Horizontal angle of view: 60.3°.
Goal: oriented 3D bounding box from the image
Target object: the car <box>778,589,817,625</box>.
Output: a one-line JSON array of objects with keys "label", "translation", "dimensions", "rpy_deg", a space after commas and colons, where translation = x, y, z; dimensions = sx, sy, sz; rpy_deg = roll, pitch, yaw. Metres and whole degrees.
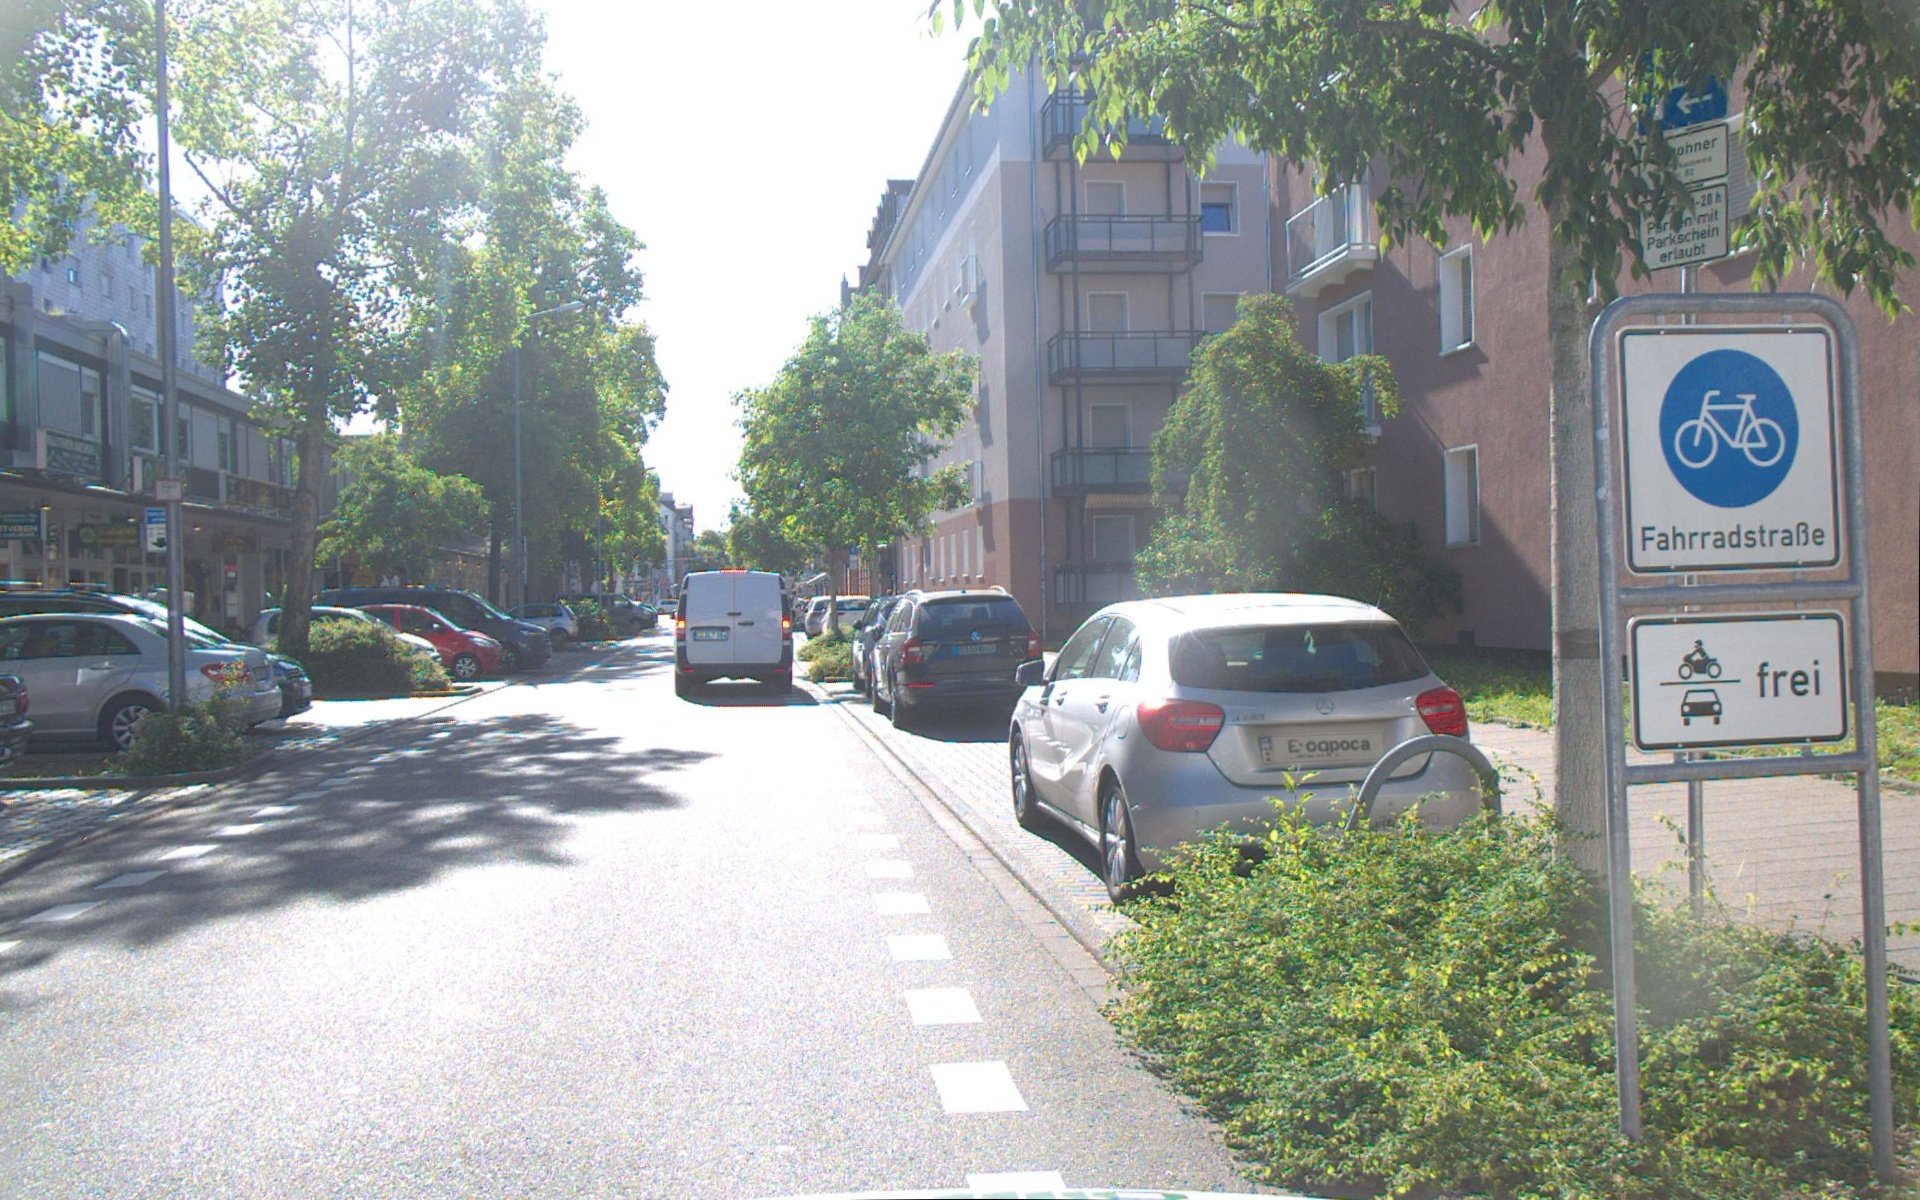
[{"label": "car", "translation": [-7.459, 0.309, 75.695], "dimensions": [1.707, 1.546, 3.852], "rpy_deg": [-2, 0, -7]}]

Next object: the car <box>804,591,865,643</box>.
[{"label": "car", "translation": [-3.998, 0.512, 52.315], "dimensions": [1.707, 1.546, 3.852], "rpy_deg": [-2, 0, -7]}]

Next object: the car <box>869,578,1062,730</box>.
[{"label": "car", "translation": [-0.055, 0.560, 19.615], "dimensions": [1.749, 1.546, 4.302], "rpy_deg": [-2, 0, -7]}]

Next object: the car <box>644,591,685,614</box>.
[{"label": "car", "translation": [-28.929, 0.229, 161.934], "dimensions": [3.917, 2.049, 1.994], "rpy_deg": [-2, 0, -12]}]

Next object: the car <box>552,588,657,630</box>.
[{"label": "car", "translation": [-18.229, 0.433, 84.936], "dimensions": [5.116, 2.016, 1.658], "rpy_deg": [-1, 0, -9]}]

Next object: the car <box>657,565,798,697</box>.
[{"label": "car", "translation": [-3.881, 0.440, 27.692], "dimensions": [2.062, 1.941, 5.415], "rpy_deg": [-2, 1, -8]}]

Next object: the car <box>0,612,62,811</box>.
[{"label": "car", "translation": [-9.418, 0.879, 12.808], "dimensions": [3.955, 1.520, 1.714], "rpy_deg": [0, 0, -9]}]

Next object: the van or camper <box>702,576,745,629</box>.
[{"label": "van or camper", "translation": [-11.813, 0.102, 82.853], "dimensions": [1.956, 2.518, 5.810], "rpy_deg": [-2, 1, -7]}]

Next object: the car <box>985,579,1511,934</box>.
[{"label": "car", "translation": [1.312, 0.664, 9.295], "dimensions": [1.707, 1.479, 4.148], "rpy_deg": [-2, 0, -8]}]

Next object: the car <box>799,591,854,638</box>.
[{"label": "car", "translation": [-4.694, 0.491, 57.754], "dimensions": [1.707, 1.546, 3.852], "rpy_deg": [-2, 0, -7]}]

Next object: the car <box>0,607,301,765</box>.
[{"label": "car", "translation": [-9.682, 0.898, 17.655], "dimensions": [4.570, 1.520, 1.824], "rpy_deg": [-1, 0, -9]}]

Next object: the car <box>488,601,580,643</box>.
[{"label": "car", "translation": [-15.494, 0.787, 60.229], "dimensions": [3.042, 1.433, 1.658], "rpy_deg": [-1, 0, -9]}]

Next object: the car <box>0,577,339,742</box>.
[{"label": "car", "translation": [-10.216, 0.697, 20.269], "dimensions": [4.541, 1.836, 1.833], "rpy_deg": [-1, 0, -9]}]

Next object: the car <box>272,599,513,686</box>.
[{"label": "car", "translation": [-11.898, 0.871, 34.944], "dimensions": [4.541, 1.638, 1.658], "rpy_deg": [-1, 1, -9]}]

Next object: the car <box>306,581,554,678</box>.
[{"label": "car", "translation": [-11.944, 0.642, 37.542], "dimensions": [5.116, 2.016, 1.658], "rpy_deg": [-1, 0, -9]}]

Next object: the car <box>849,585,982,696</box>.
[{"label": "car", "translation": [-0.765, 0.579, 25.917], "dimensions": [1.707, 1.546, 3.852], "rpy_deg": [-2, 0, -7]}]
